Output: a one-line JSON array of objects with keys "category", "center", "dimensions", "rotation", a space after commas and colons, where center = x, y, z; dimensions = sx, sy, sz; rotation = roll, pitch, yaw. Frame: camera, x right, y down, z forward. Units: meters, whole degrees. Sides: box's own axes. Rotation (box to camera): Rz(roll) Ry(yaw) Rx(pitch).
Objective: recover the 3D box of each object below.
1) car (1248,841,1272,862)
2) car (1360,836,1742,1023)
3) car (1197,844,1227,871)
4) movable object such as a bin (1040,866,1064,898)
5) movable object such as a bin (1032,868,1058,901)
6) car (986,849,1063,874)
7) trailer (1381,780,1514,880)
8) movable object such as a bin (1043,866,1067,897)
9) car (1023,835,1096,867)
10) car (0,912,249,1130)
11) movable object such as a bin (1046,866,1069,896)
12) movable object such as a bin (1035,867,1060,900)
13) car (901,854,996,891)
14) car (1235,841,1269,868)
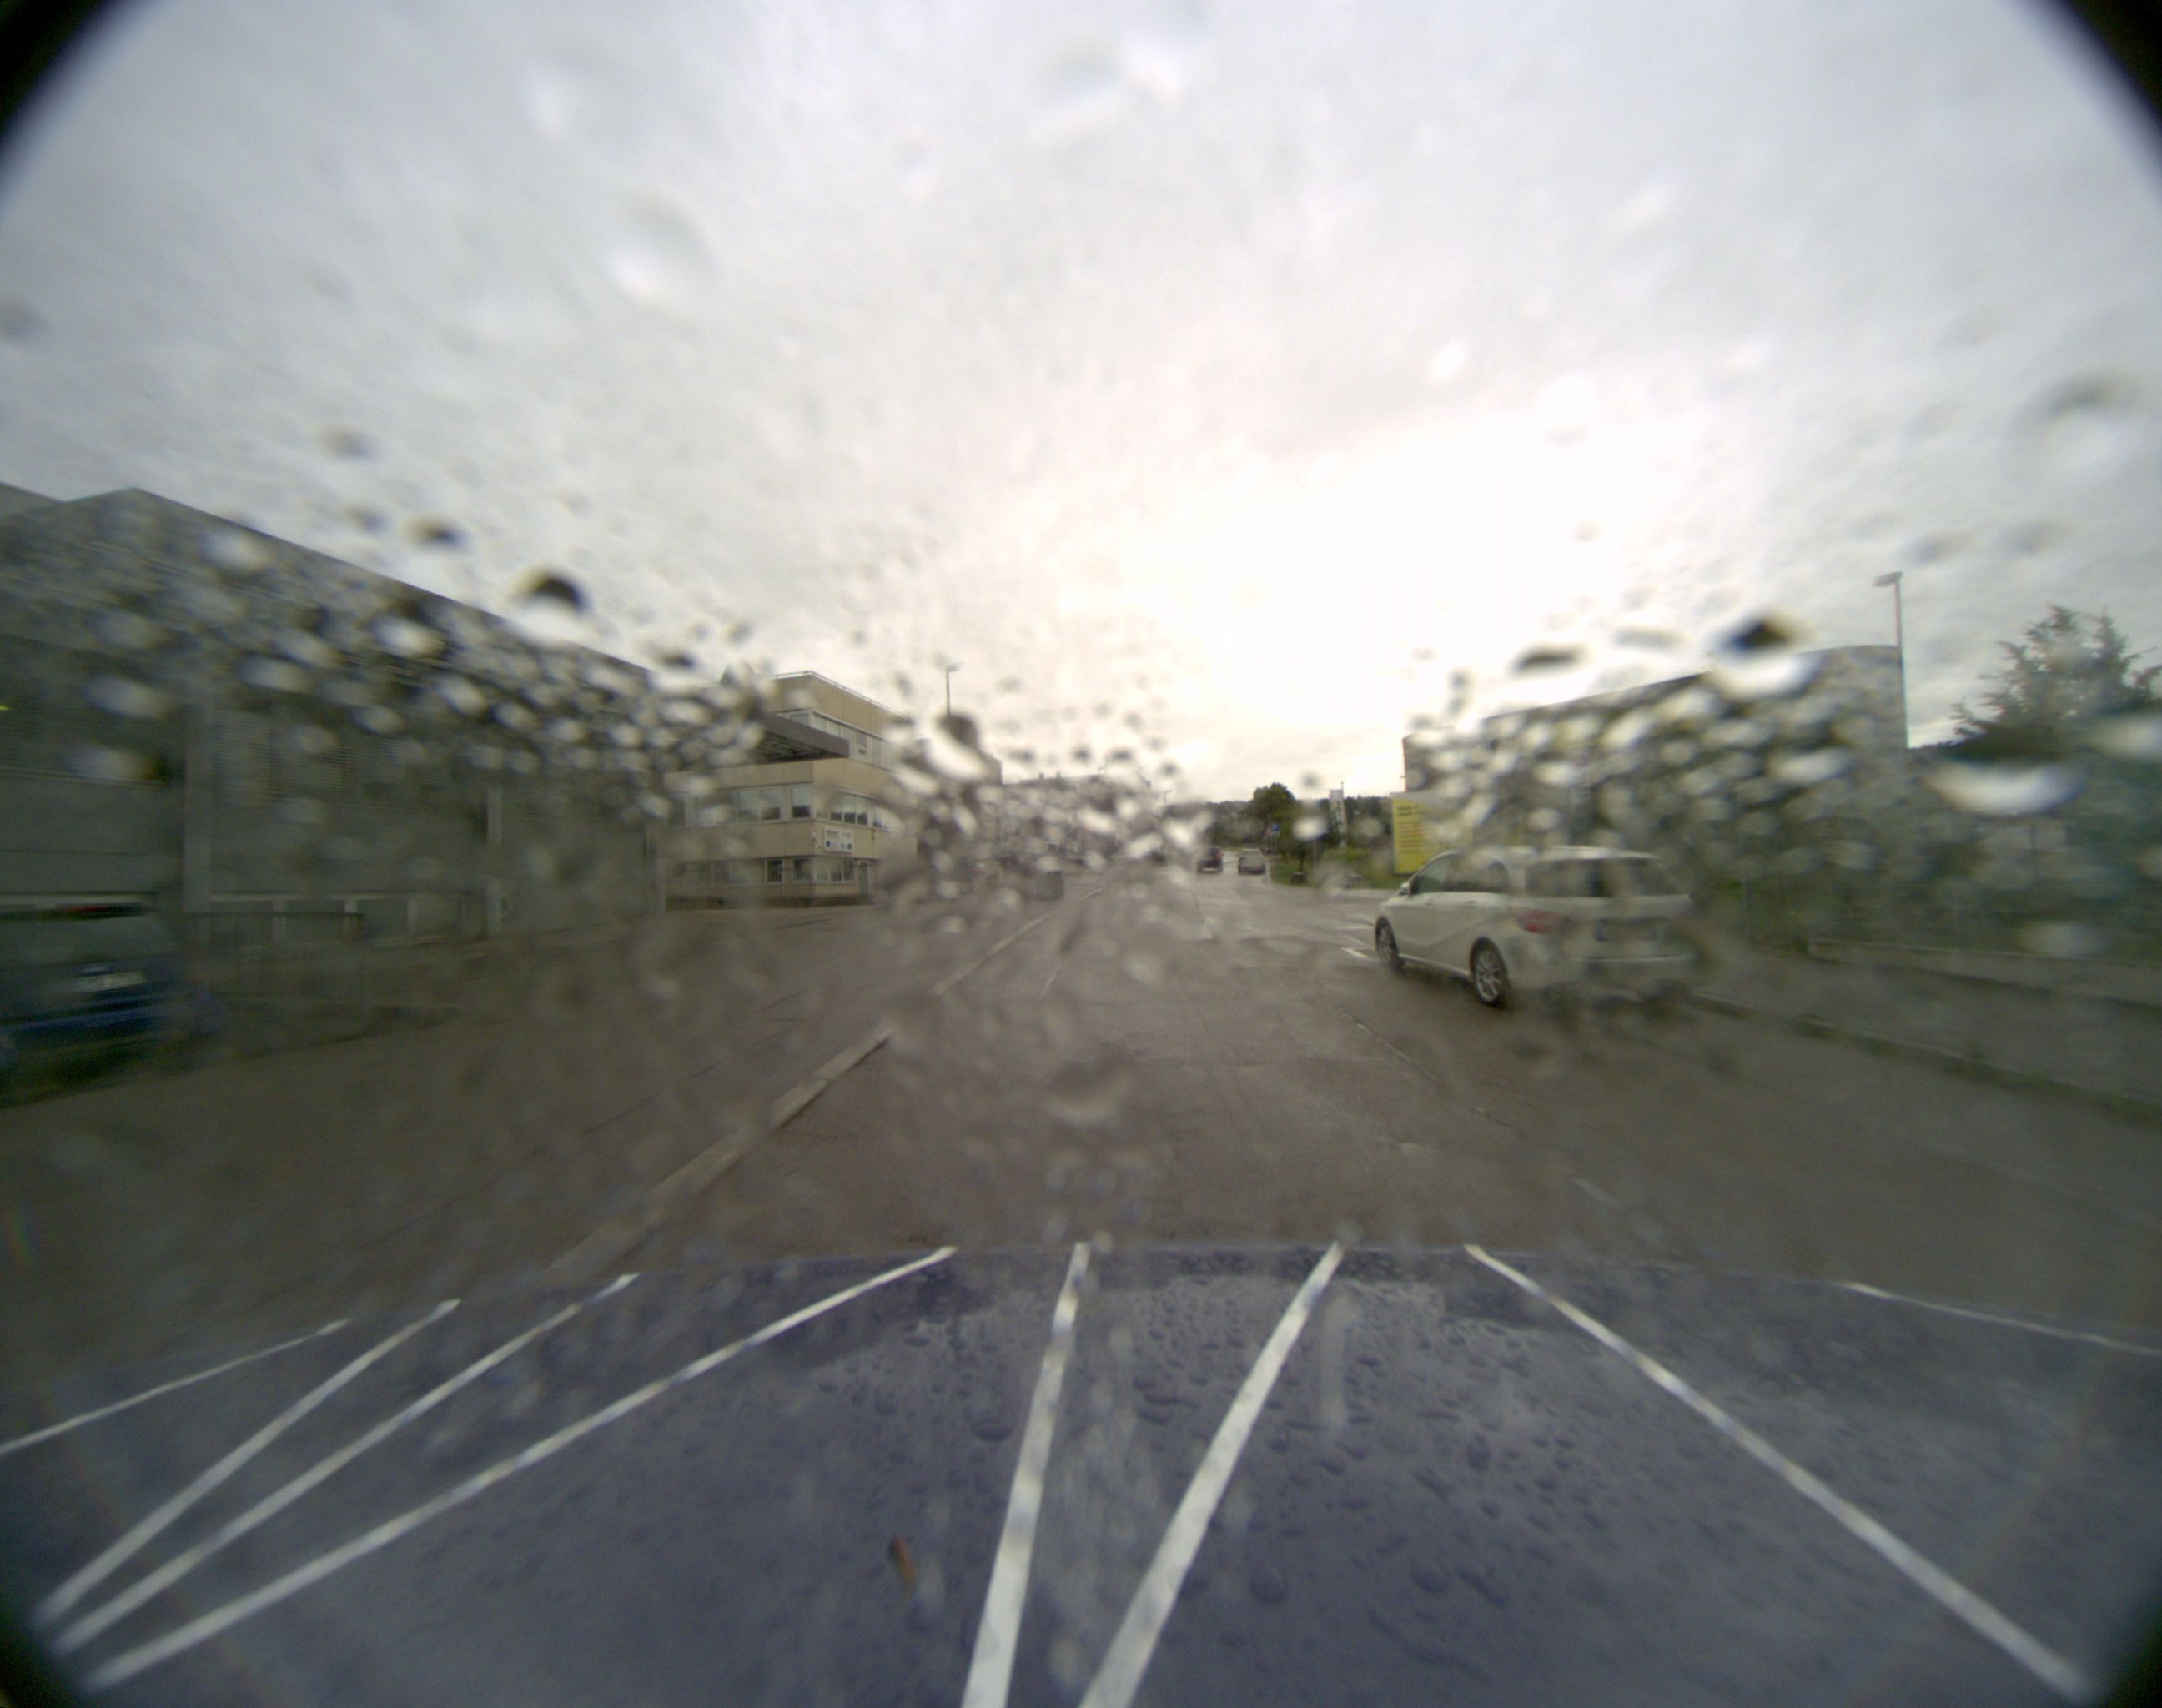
[{"category": "car", "center": [17.965, -0.255, 76.307], "dimensions": [1.996, 2.002, 4.005], "rotation": [-1, 0, 18]}, {"category": "car", "center": [4.736, 0.626, 8.527], "dimensions": [1.739, 1.527, 4.250], "rotation": [-2, 0, 2]}, {"category": "car", "center": [10.100, 0.297, 58.895], "dimensions": [2.066, 2.001, 4.515], "rotation": [0, -1, 7]}, {"category": "movable object such as a bin", "center": [-1.007, 1.000, 26.844], "dimensions": [0.735, 1.084, 0.594], "rotation": [-1, 1, 6]}, {"category": "movable object such as a bin", "center": [-1.202, 1.020, 25.526], "dimensions": [0.735, 1.084, 0.594], "rotation": [-1, 1, 6]}, {"category": "car", "center": [-3.705, 0.509, 50.127], "dimensions": [4.618, 1.488, 1.942], "rotation": [-1, 1, 12]}, {"category": "trailer", "center": [16.138, -0.984, 33.641], "dimensions": [2.393, 4.066, 4.687], "rotation": [-2, 1, -40]}, {"category": "movable object such as a bin", "center": [-0.936, 0.996, 27.456], "dimensions": [0.735, 1.084, 0.594], "rotation": [-1, 1, 6]}, {"category": "car", "center": [-1.651, -0.233, 59.246], "dimensions": [5.147, 2.281, 2.204], "rotation": [-2, 1, 14]}, {"category": "car", "center": [-9.454, 1.572, 6.547], "dimensions": [3.441, 1.490, 1.620], "rotation": [-11, -2, 16]}, {"category": "movable object such as a bin", "center": [-0.869, 0.993, 28.075], "dimensions": [0.735, 1.084, 0.594], "rotation": [-1, 1, 6]}, {"category": "movable object such as a bin", "center": [-1.135, 1.011, 26.136], "dimensions": [0.735, 1.084, 0.594], "rotation": [-1, 1, 6]}, {"category": "car", "center": [-5.764, 0.789, 33.296], "dimensions": [3.745, 1.531, 1.632], "rotation": [-1, 0, 10]}, {"category": "car", "center": [12.543, 0.033, 55.909], "dimensions": [1.997, 1.902, 4.002], "rotation": [-1, 0, 6]}]
